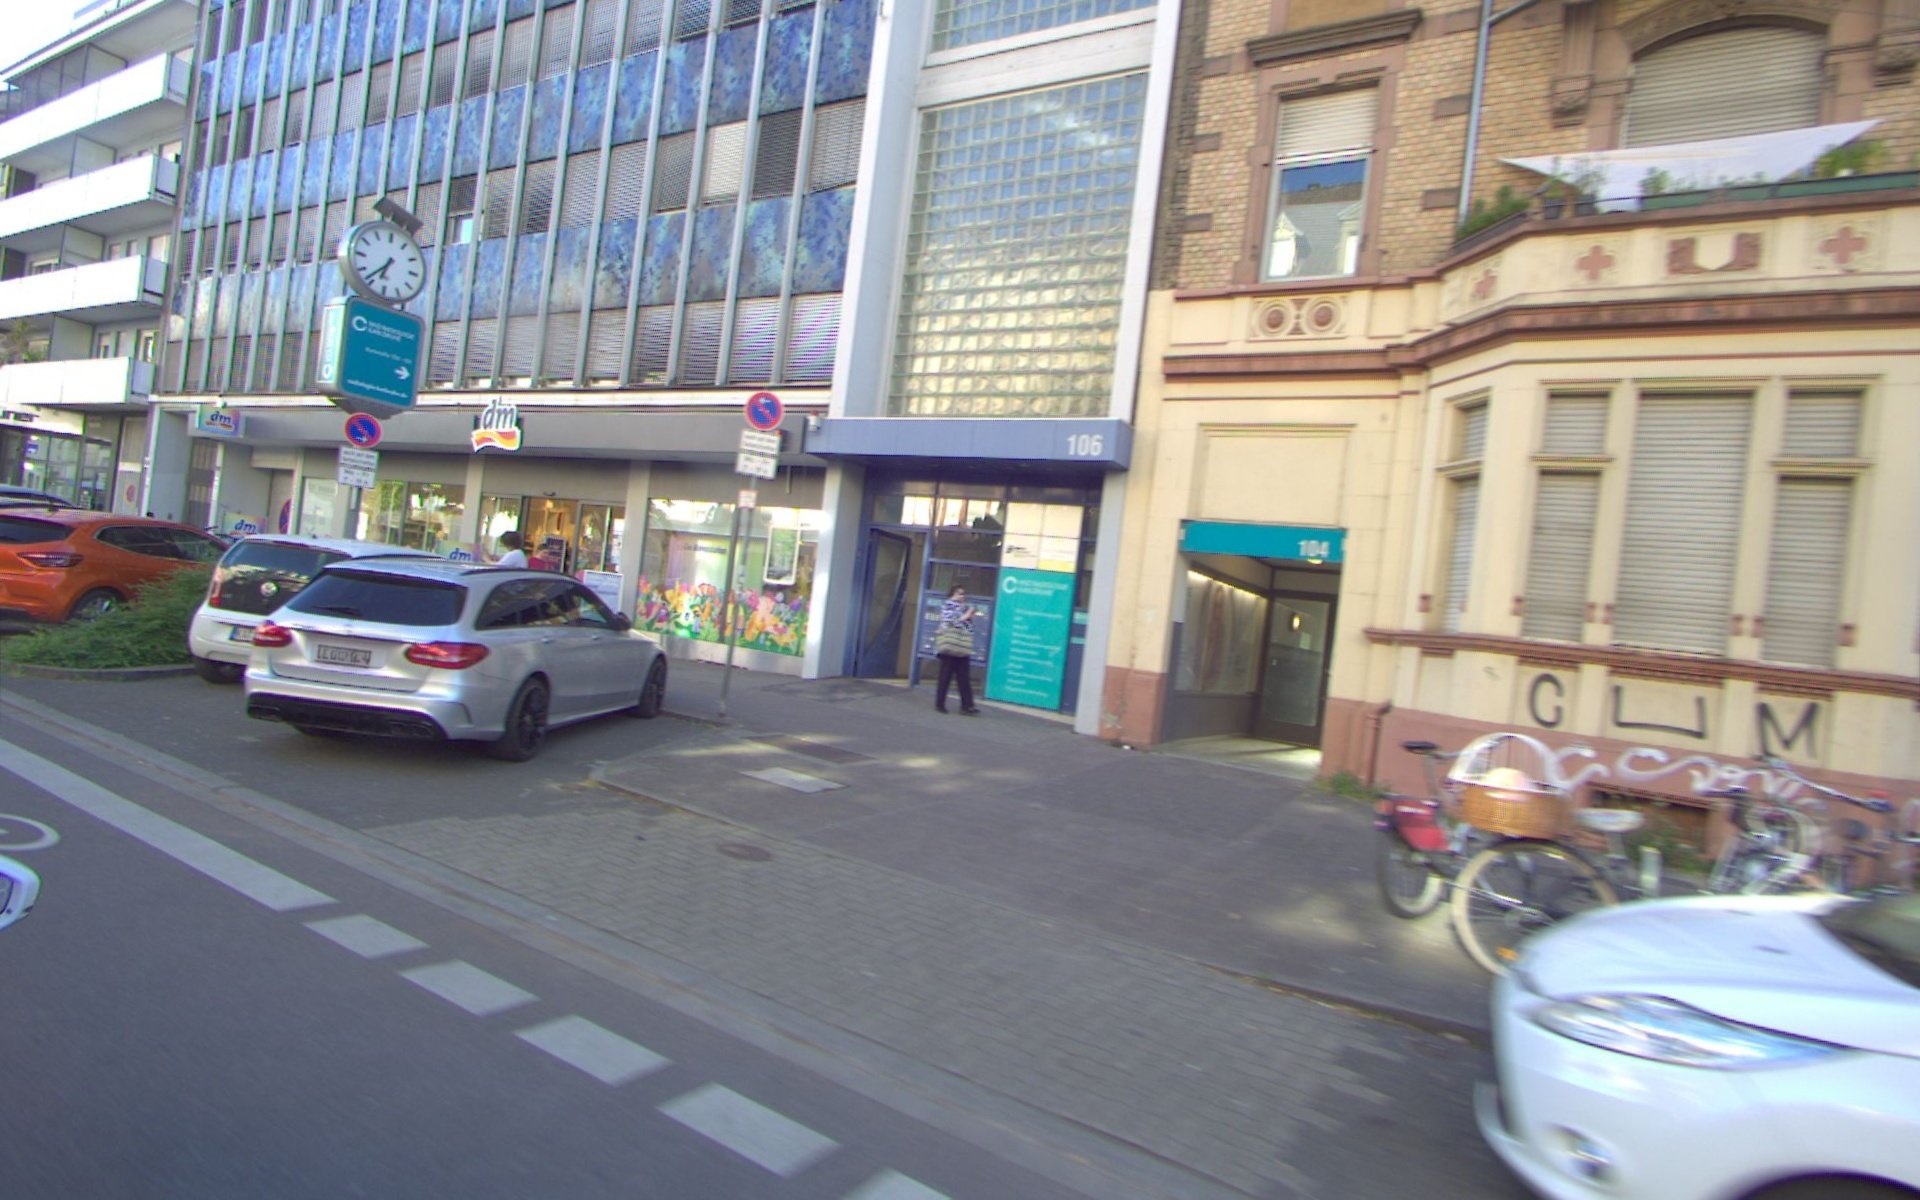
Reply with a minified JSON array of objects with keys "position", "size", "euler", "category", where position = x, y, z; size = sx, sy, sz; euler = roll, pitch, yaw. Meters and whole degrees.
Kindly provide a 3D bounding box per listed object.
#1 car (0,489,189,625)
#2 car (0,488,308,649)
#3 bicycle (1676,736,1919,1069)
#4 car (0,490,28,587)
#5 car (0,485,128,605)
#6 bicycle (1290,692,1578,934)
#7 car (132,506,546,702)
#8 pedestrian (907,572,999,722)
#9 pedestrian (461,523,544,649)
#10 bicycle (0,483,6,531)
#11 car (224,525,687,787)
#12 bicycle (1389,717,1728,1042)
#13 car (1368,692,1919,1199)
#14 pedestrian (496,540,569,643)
[{"position":[-12.336,-0.601,13.084],"size":[1.791,1.573,3.455],"euler":[7,-2,0],"category":"car"},{"position":[-10.049,-0.325,12.044],"size":[1.932,1.538,3.732],"euler":[7,-2,-1],"category":"car"},{"position":[4.243,1.384,5.244],"size":[0.653,1.235,2.361],"euler":[6,-2,34],"category":"bicycle"},{"position":[-17.327,-1.212,16.067],"size":[1.655,1.659,3.452],"euler":[7,-2,-5],"category":"car"},{"position":[-14.875,-0.940,14.815],"size":[2.010,1.671,3.732],"euler":[7,-2,-1],"category":"car"},{"position":[3.021,1.307,6.314],"size":[2.009,1.235,0.657],"euler":[9,-2,-36],"category":"bicycle"},{"position":[-6.245,0.112,10.737],"size":[1.804,1.504,3.790],"euler":[7,-2,2],"category":"car"},{"position":[-0.084,0.620,13.084],"size":[0.715,1.827,0.721],"euler":[7,-1,31],"category":"pedestrian"},{"position":[-6.856,-0.205,15.085],"size":[0.667,1.776,0.694],"euler":[7,-1,31],"category":"pedestrian"},{"position":[-29.140,-2.522,29.817],"size":[2.322,2.037,0.728],"euler":[6,-1,37],"category":"bicycle"},{"position":[-3.904,0.456,8.794],"size":[1.507,1.525,4.458],"euler":[7,-2,2],"category":"car"},{"position":[2.857,1.261,4.899],"size":[1.218,1.199,0.694],"euler":[6,-1,31],"category":"bicycle"},{"position":[3.256,1.315,2.372],"size":[3.934,1.614,1.877],"euler":[6,-2,32],"category":"car"},{"position":[-7.160,-0.141,16.875],"size":[0.667,1.606,0.694],"euler":[7,-1,31],"category":"pedestrian"}]
